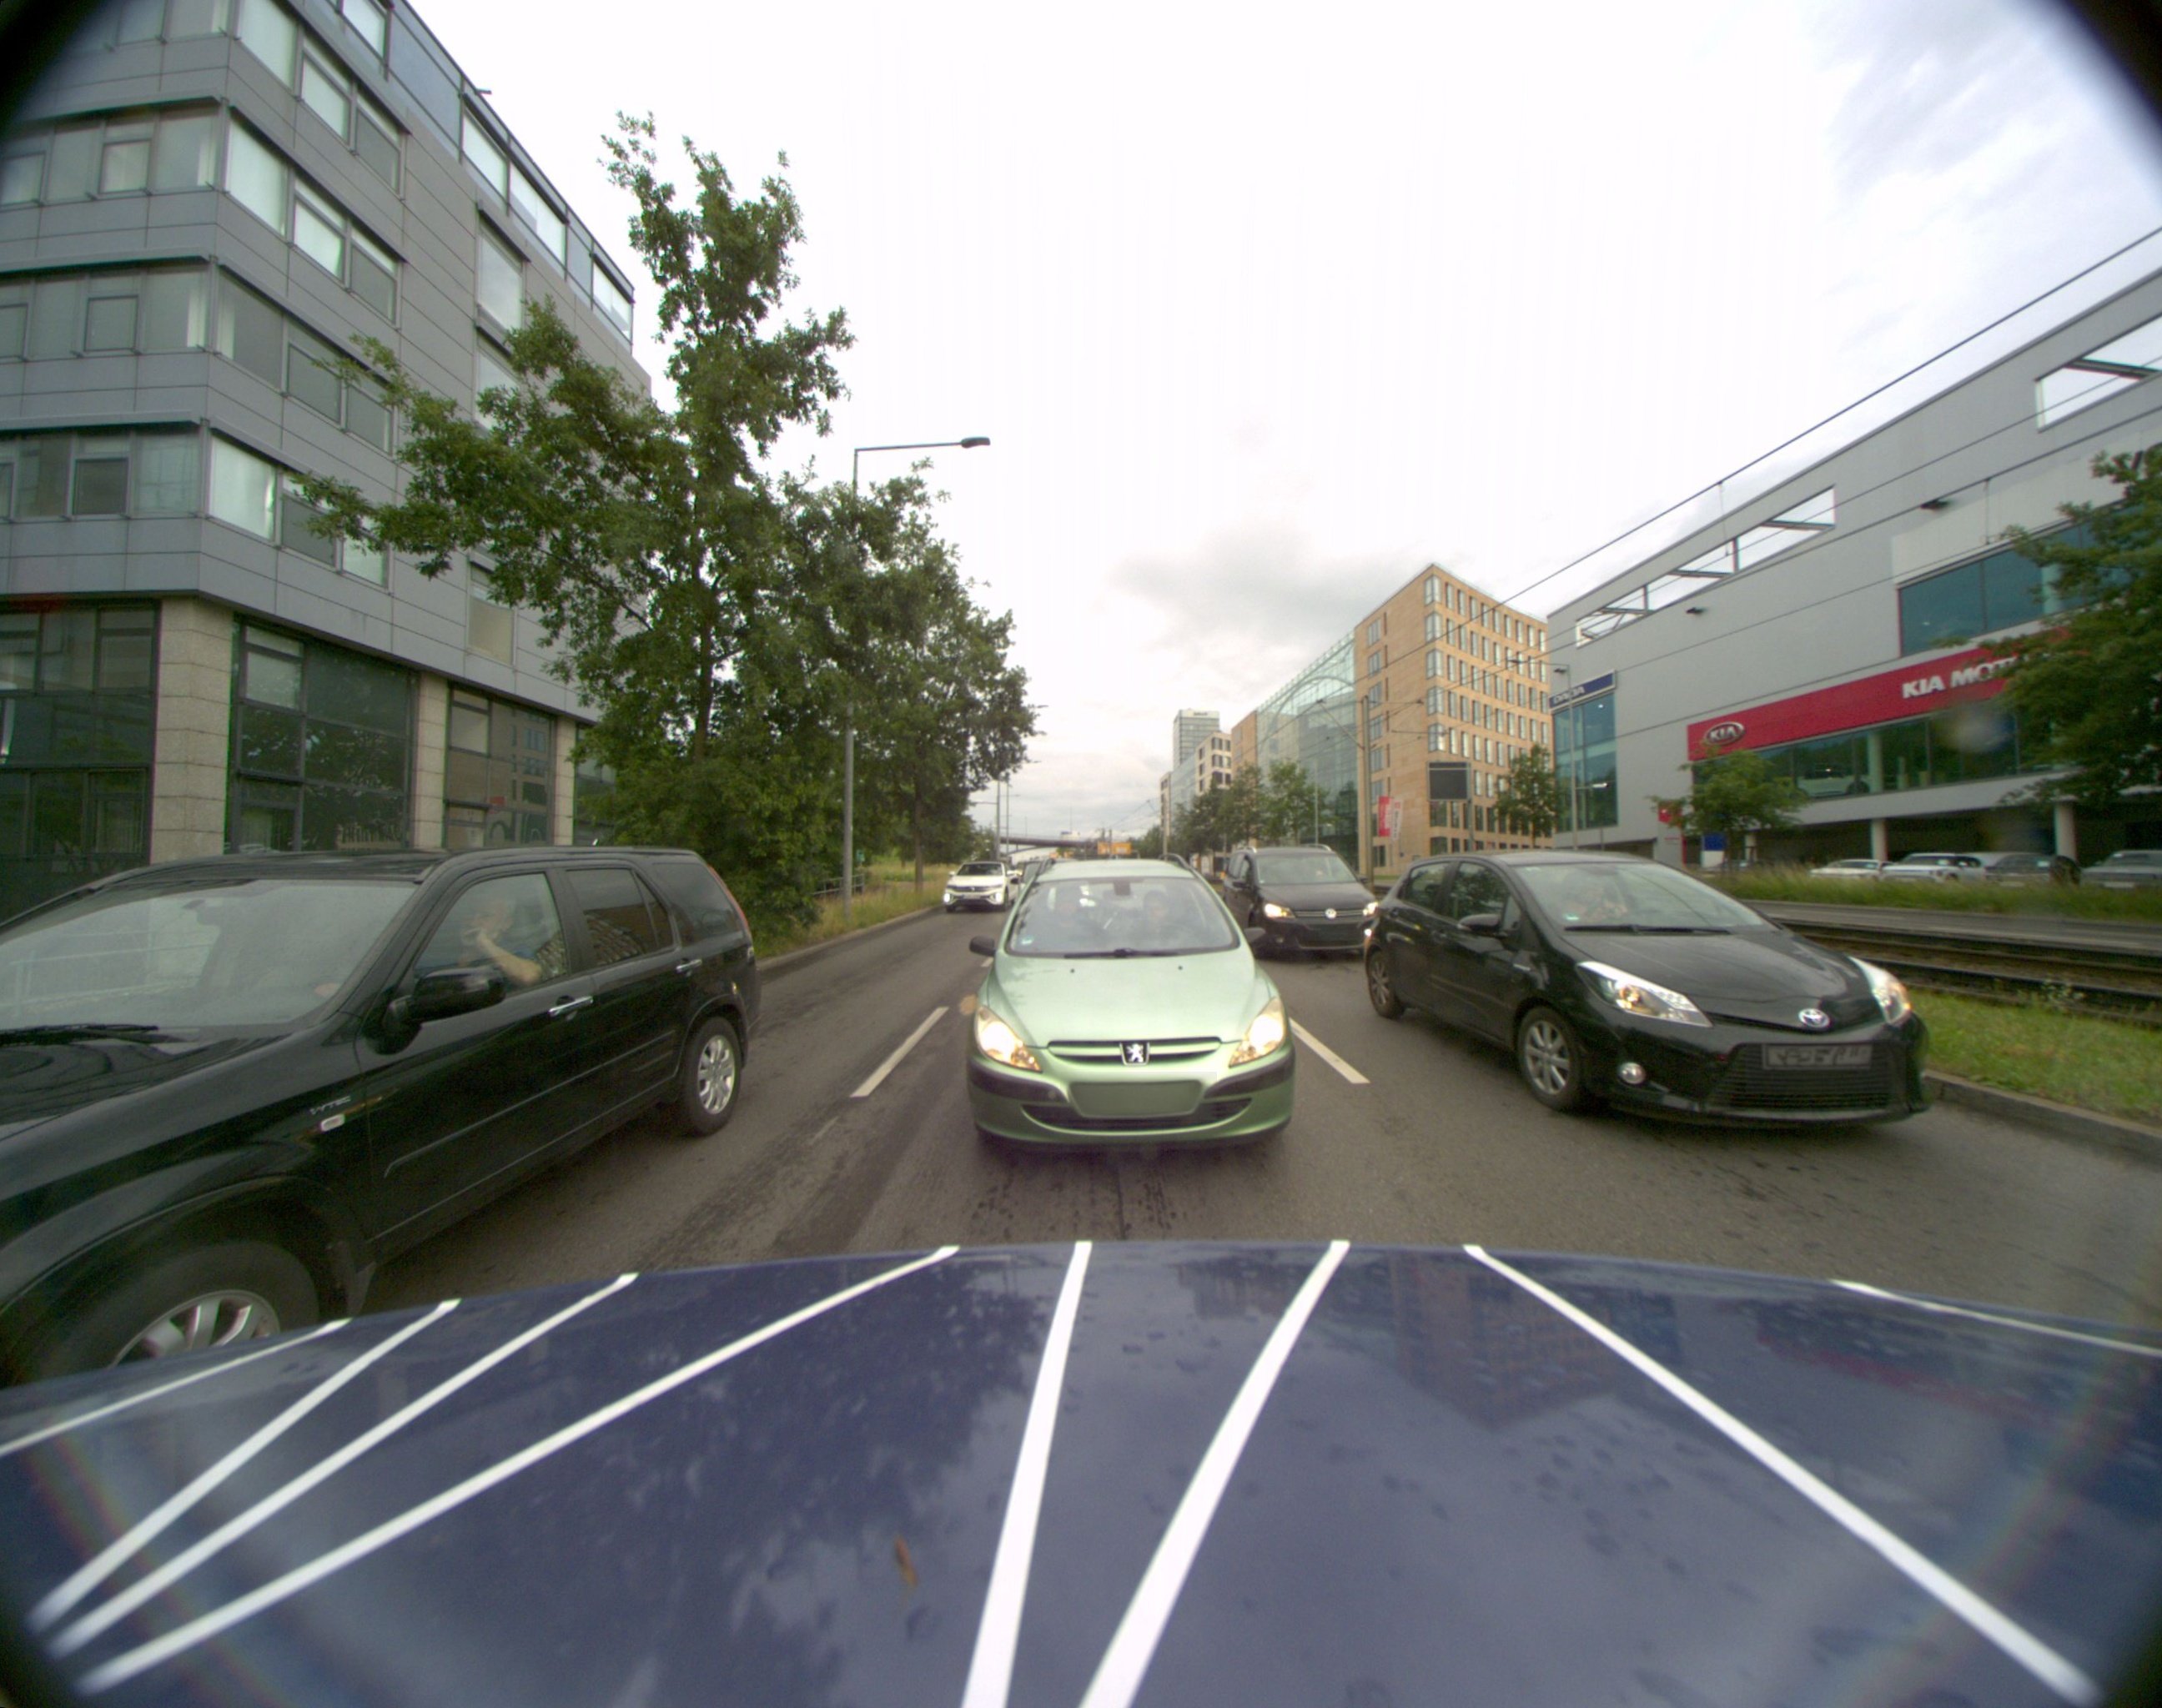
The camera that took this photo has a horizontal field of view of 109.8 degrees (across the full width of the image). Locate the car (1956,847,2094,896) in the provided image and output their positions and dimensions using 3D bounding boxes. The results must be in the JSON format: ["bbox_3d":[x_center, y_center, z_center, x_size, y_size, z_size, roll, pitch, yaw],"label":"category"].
[{"bbox_3d":[31.607,0.556,25.449,3.528,1.344,1.696,-4,1,-17],"label":"car"}]

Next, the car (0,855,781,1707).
[{"bbox_3d":[-2.952,0.852,2.950,1.759,1.649,4.338,-1,0,1],"label":"car"}]

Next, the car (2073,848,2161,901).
[{"bbox_3d":[32.052,0.576,22.857,3.528,1.344,1.696,-4,1,-20],"label":"car"}]

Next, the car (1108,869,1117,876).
[{"bbox_3d":[7.716,4.534,188.195,1.589,1.504,4.100,1,0,-5],"label":"car"}]

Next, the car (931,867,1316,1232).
[{"bbox_3d":[0.178,0.917,5.610,1.704,1.523,4.370,-1,0,-1],"label":"car"}]

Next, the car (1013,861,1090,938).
[{"bbox_3d":[-0.673,0.927,17.002,1.518,1.495,3.167,-1,0,-3],"label":"car"}]

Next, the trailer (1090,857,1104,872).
[{"bbox_3d":[4.673,3.074,227.077,3.143,4.304,13.277,2,0,-3],"label":"trailer"}]

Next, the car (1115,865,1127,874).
[{"bbox_3d":[8.095,3.240,155.004,1.999,1.709,4.839,1,0,-2],"label":"car"}]

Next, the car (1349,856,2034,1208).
[{"bbox_3d":[3.432,0.809,5.333,1.704,1.523,3.826,-1,0,-1],"label":"car"}]

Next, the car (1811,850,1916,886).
[{"bbox_3d":[31.747,0.561,30.835,3.668,1.181,1.696,-4,1,-22],"label":"car"}]

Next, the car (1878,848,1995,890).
[{"bbox_3d":[31.769,0.546,28.230,3.668,1.287,1.696,-4,1,-22],"label":"car"}]

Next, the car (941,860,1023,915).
[{"bbox_3d":[-2.930,0.966,23.356,1.827,1.495,3.767,-1,0,3],"label":"car"}]

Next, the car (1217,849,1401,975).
[{"bbox_3d":[3.313,0.742,11.940,1.786,1.597,4.318,-1,0,3],"label":"car"}]
